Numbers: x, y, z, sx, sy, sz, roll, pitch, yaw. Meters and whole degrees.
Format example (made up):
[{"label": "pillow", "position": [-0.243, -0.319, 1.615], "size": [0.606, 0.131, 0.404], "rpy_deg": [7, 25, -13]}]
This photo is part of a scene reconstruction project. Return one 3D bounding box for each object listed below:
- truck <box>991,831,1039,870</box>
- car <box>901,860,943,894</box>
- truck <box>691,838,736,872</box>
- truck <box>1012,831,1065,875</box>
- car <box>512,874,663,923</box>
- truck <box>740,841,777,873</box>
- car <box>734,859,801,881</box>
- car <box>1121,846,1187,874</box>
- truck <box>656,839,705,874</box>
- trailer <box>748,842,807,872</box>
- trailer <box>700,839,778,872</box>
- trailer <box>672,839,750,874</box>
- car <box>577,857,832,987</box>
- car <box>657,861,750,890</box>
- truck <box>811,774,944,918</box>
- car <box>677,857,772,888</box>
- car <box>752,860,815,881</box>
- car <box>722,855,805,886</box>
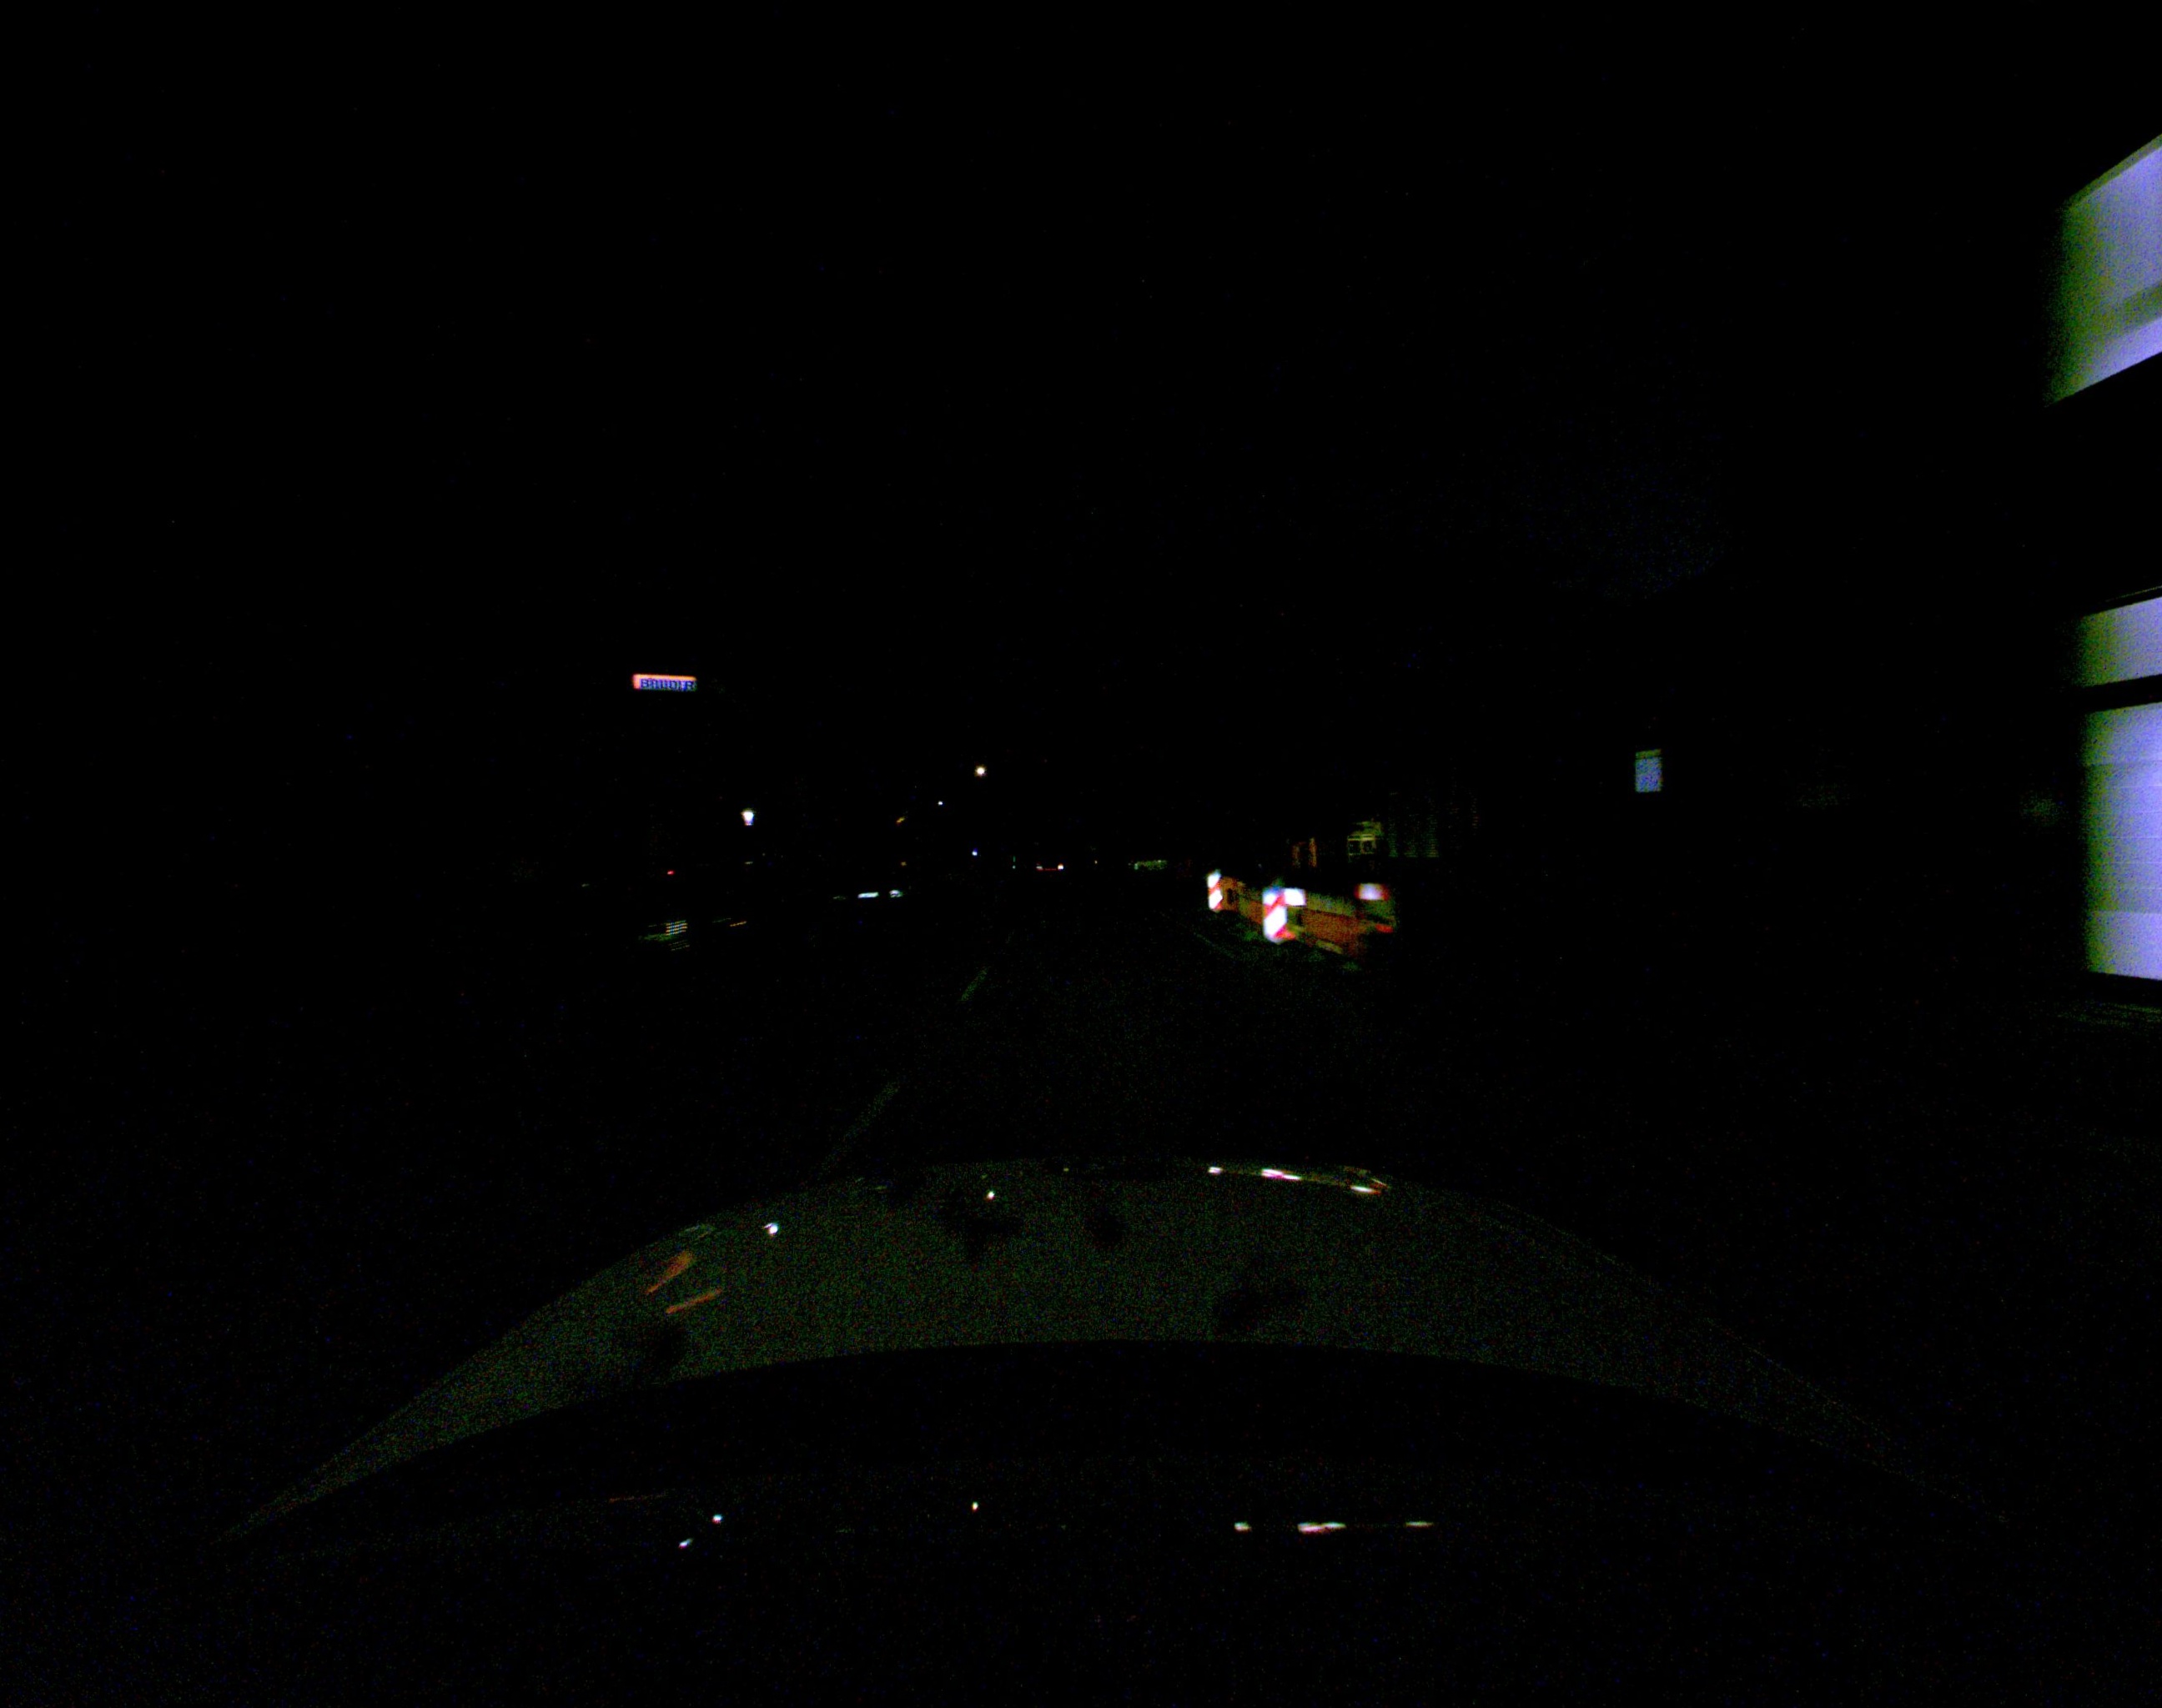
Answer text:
[{"label": "truck", "position": [-7.121, -0.298, 86.524], "size": [2.763, 3.783, 10.162], "rpy_deg": [-2, 0, -18]}, {"label": "car", "position": [-8.270, 1.152, 42.546], "size": [1.865, 1.593, 4.482], "rpy_deg": [-2, 0, -8]}, {"label": "truck", "position": [-46.368, 0.122, 102.879], "size": [3.044, 4.148, 4.942], "rpy_deg": [0, 0, 4]}, {"label": "truck", "position": [-4.152, -0.061, 76.814], "size": [2.762, 3.783, 9.082], "rpy_deg": [-2, 0, -17]}, {"label": "car", "position": [-16.990, 1.500, 28.261], "size": [4.024, 1.424, 1.858], "rpy_deg": [-2, 0, -12]}, {"label": "truck", "position": [-41.212, 0.409, 104.163], "size": [3.051, 3.932, 4.499], "rpy_deg": [0, 0, -3]}, {"label": "car", "position": [-22.291, 1.131, 58.049], "size": [4.272, 1.394, 1.819], "rpy_deg": [-1, 0, -14]}, {"label": "car", "position": [5.324, 0.412, 59.390], "size": [4.340, 1.646, 1.880], "rpy_deg": [-4, 1, -19]}, {"label": "truck", "position": [-50.274, 0.310, 102.376], "size": [3.045, 4.357, 5.571], "rpy_deg": [0, 0, 3]}, {"label": "trailer", "position": [-41.489, 0.410, 112.020], "size": [3.050, 3.932, 14.989], "rpy_deg": [0, 0, -2]}, {"label": "trailer", "position": [-45.780, 0.182, 109.812], "size": [3.044, 4.148, 15.022], "rpy_deg": [0, 0, 5]}, {"label": "trailer", "position": [-49.805, 0.336, 110.420], "size": [3.045, 4.357, 15.015], "rpy_deg": [0, 0, 3]}, {"label": "car", "position": [-5.986, 0.943, 13.851], "size": [1.938, 1.717, 5.196], "rpy_deg": [-2, 0, -1]}, {"label": "car", "position": [-21.259, 1.206, 46.027], "size": [4.410, 1.452, 1.819], "rpy_deg": [-1, 0, -14]}, {"label": "truck", "position": [-6.729, -0.231, 28.457], "size": [2.767, 4.120, 9.328], "rpy_deg": [-2, 0, -4]}, {"label": "car", "position": [-19.135, 0.983, 43.928], "size": [4.410, 1.482, 1.883], "rpy_deg": [-1, 0, -14]}, {"label": "car", "position": [-23.115, 1.228, 63.372], "size": [4.410, 1.478, 1.842], "rpy_deg": [-1, 0, -14]}, {"label": "car", "position": [-20.003, 1.026, 51.522], "size": [4.614, 1.816, 1.953], "rpy_deg": [-1, 0, -14]}]
